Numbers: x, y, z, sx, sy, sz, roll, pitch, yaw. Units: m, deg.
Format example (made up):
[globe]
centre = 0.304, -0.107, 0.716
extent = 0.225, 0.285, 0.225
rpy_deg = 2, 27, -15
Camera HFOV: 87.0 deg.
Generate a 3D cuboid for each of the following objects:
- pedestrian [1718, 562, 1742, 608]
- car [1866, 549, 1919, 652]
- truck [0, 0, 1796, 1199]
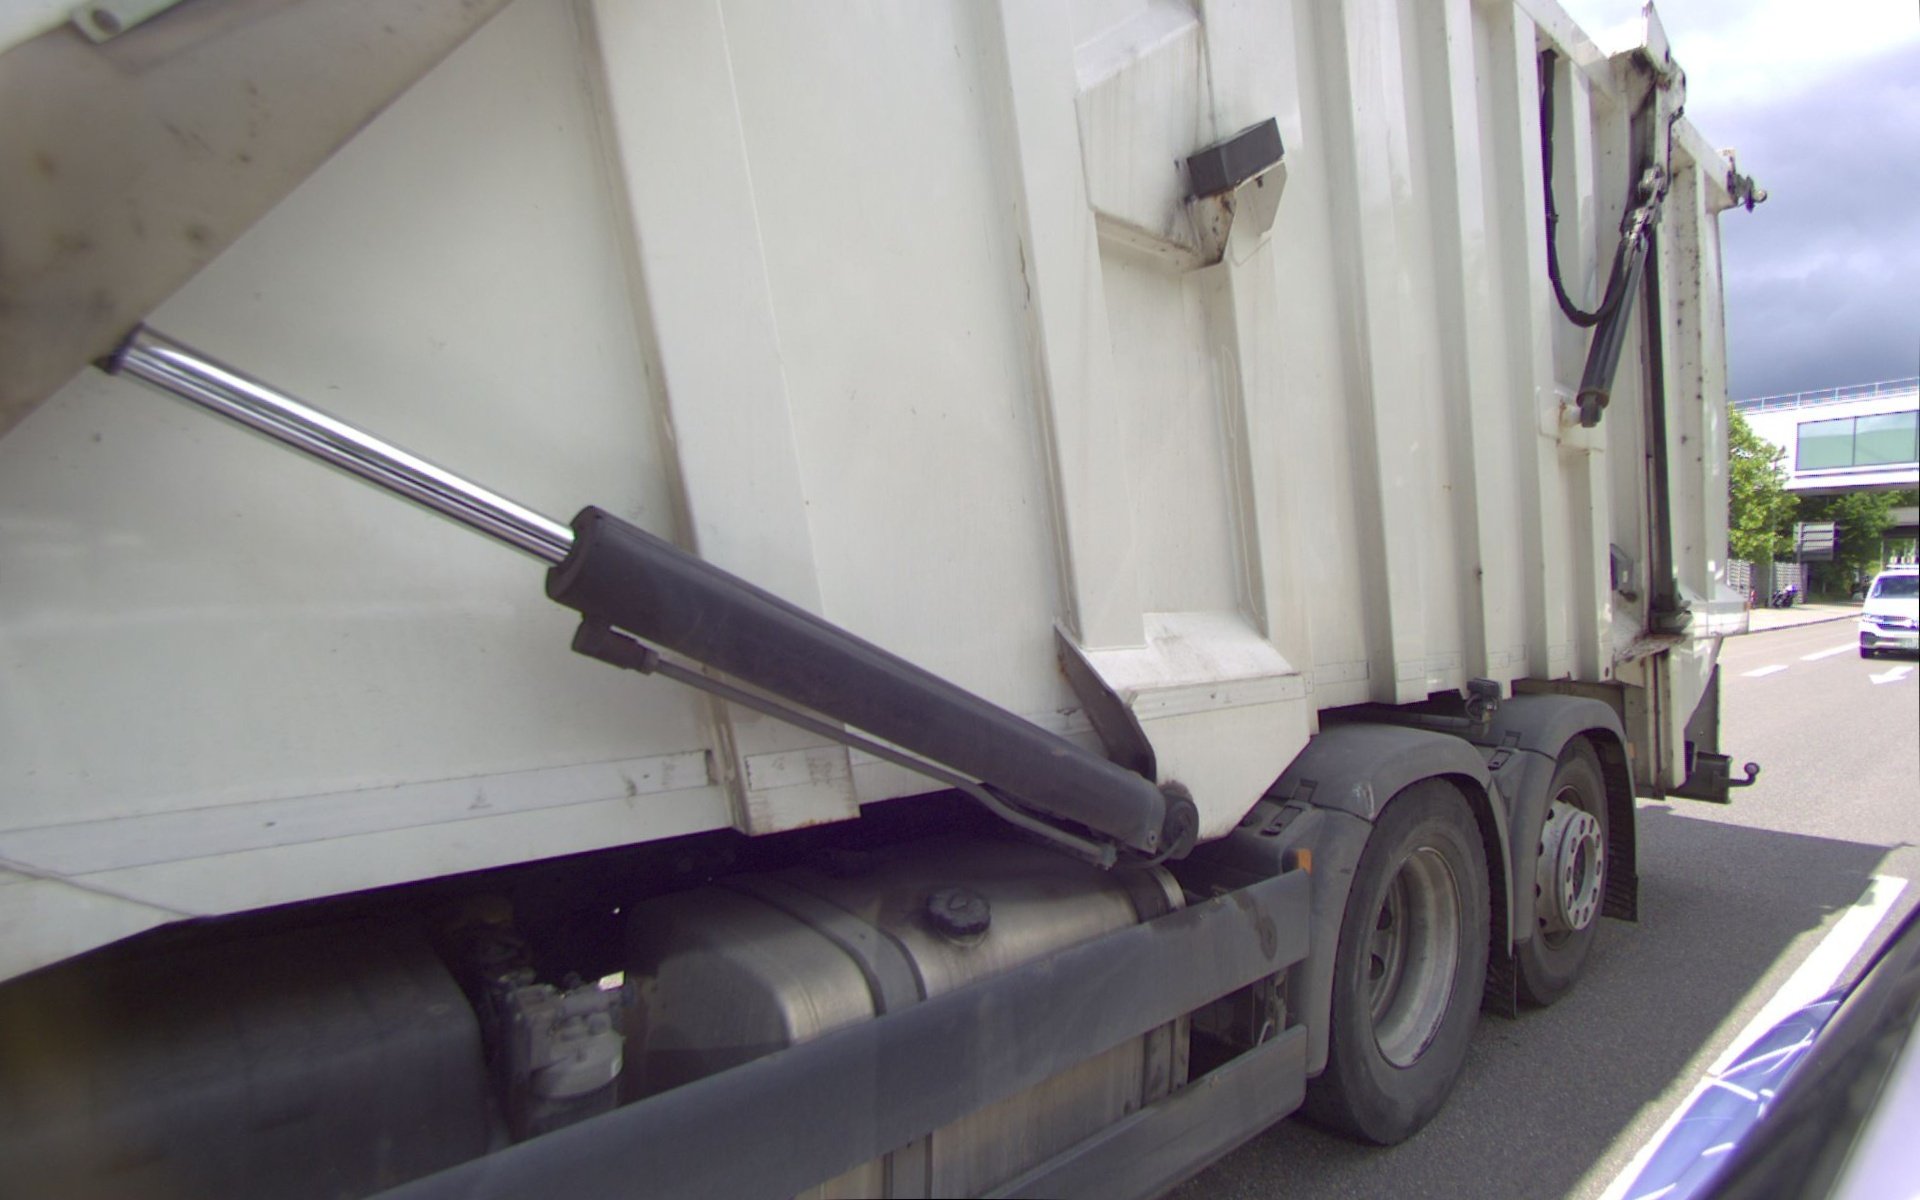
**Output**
[pedestrian]
centre = 33.299, -0.652, 43.754
extent = 0.648, 1.936, 0.737
rpy_deg = -1, 0, -45
[car]
centre = 21.636, -0.003, 22.245
extent = 4.574, 2.121, 1.925
rpy_deg = 0, 1, -40
[truck]
centre = 0.144, -0.686, 3.282
extent = 10.000, 3.962, 2.493
rpy_deg = -1, 1, -42
